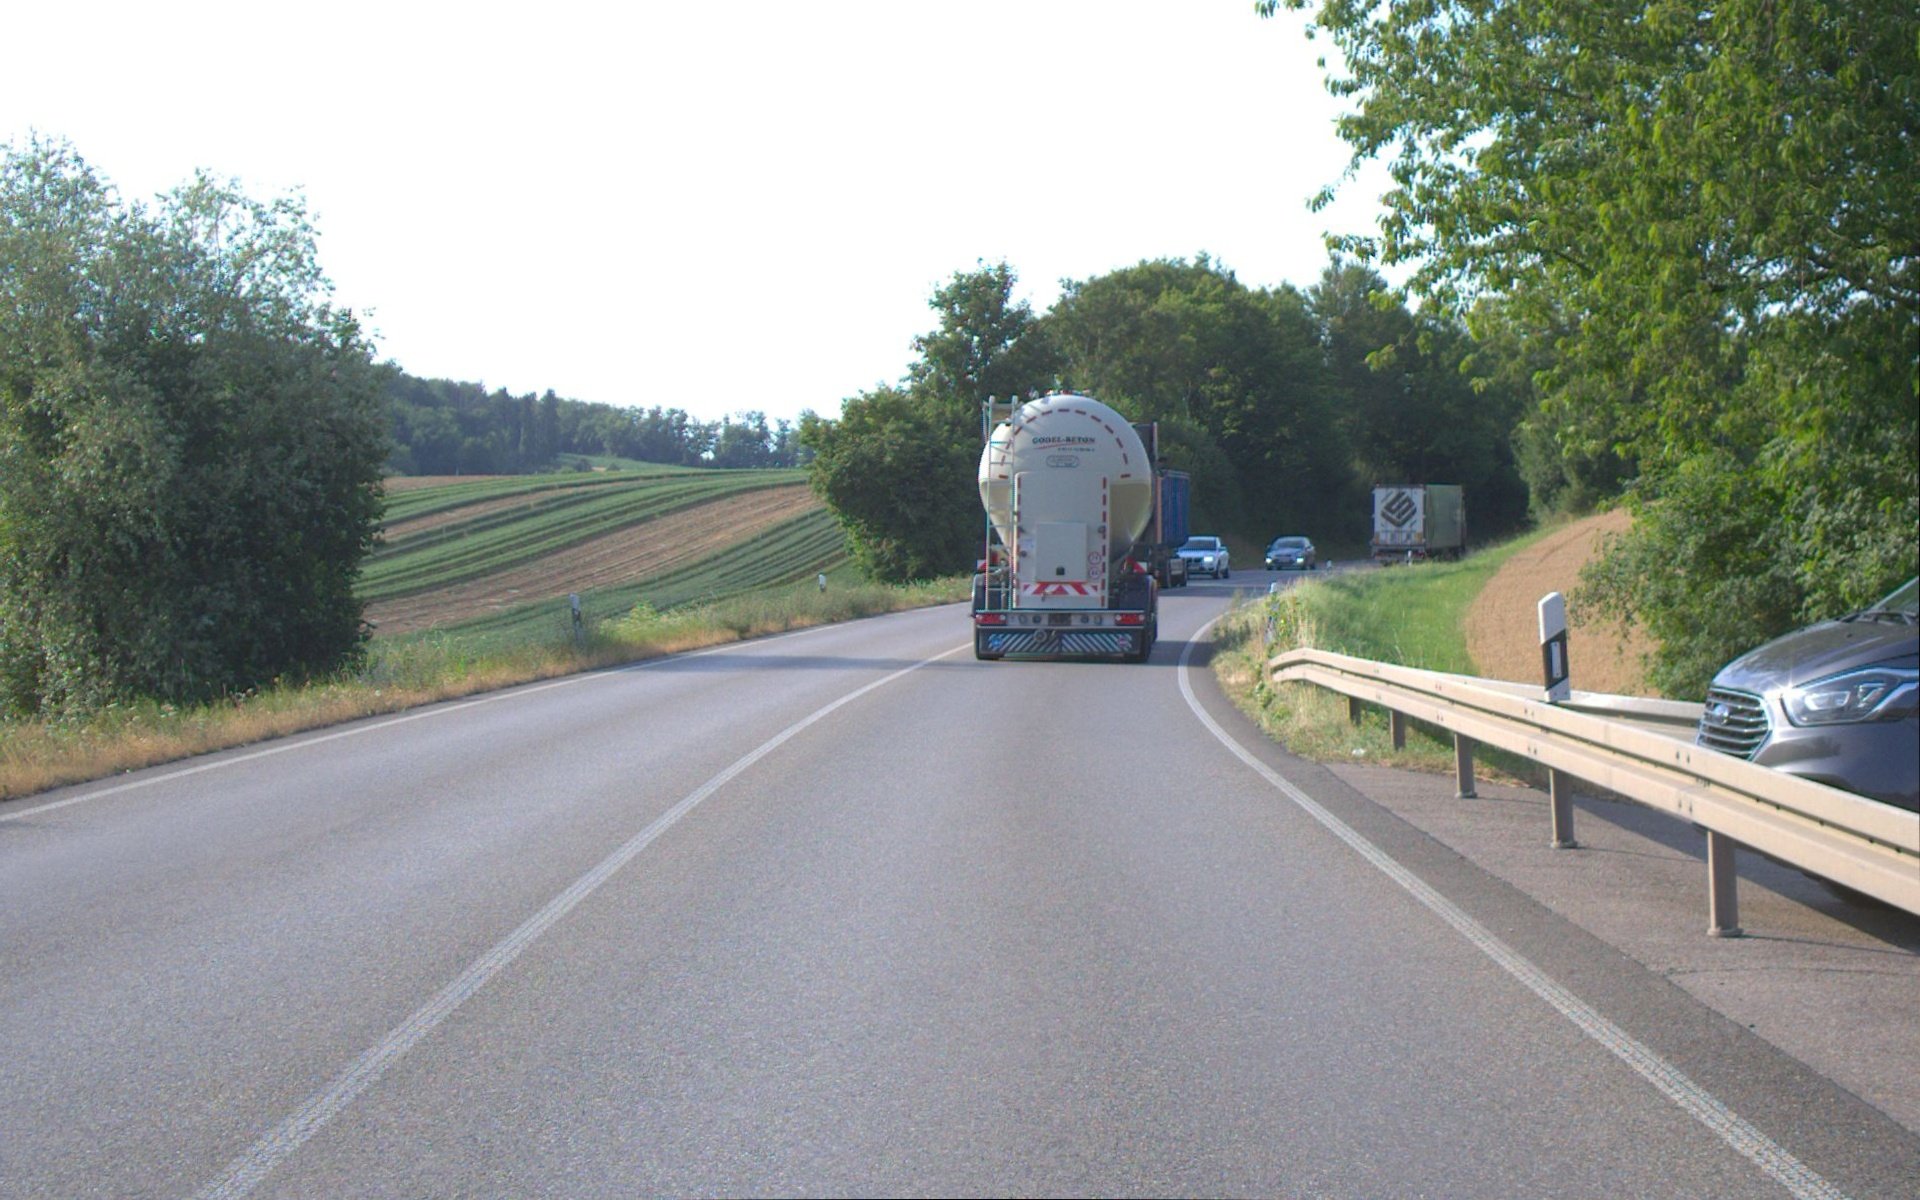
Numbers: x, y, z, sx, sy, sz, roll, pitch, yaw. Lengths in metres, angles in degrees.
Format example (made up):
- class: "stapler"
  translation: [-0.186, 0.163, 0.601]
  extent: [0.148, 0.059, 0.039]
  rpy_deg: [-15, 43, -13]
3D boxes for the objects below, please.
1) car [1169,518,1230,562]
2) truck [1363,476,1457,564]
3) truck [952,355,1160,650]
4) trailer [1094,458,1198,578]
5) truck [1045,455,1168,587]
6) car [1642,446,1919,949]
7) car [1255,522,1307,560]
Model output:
- class: "car"
  translation: [9.466, -2.360, 135.578]
  extent: [1.976, 1.645, 4.361]
  rpy_deg: [-1, 2, 10]
- class: "truck"
  translation: [22.577, -4.037, 171.785]
  extent: [3.185, 4.213, 13.164]
  rpy_deg: [0, 2, 14]
- class: "truck"
  translation: [1.722, -1.485, 54.870]
  extent: [2.893, 4.128, 13.171]
  rpy_deg: [0, 1, 3]
- class: "trailer"
  translation: [6.417, -2.824, 117.328]
  extent: [2.365, 3.907, 8.957]
  rpy_deg: [-1, 2, 11]
- class: "truck"
  translation: [4.686, -2.512, 107.918]
  extent: [2.390, 3.907, 10.156]
  rpy_deg: [-1, 2, 11]
- class: "car"
  translation: [5.765, 0.557, 14.622]
  extent: [5.139, 1.937, 1.975]
  rpy_deg: [5, 1, -3]
- class: "car"
  translation: [14.951, -2.763, 159.932]
  extent: [1.976, 1.645, 4.360]
  rpy_deg: [0, 2, 11]
